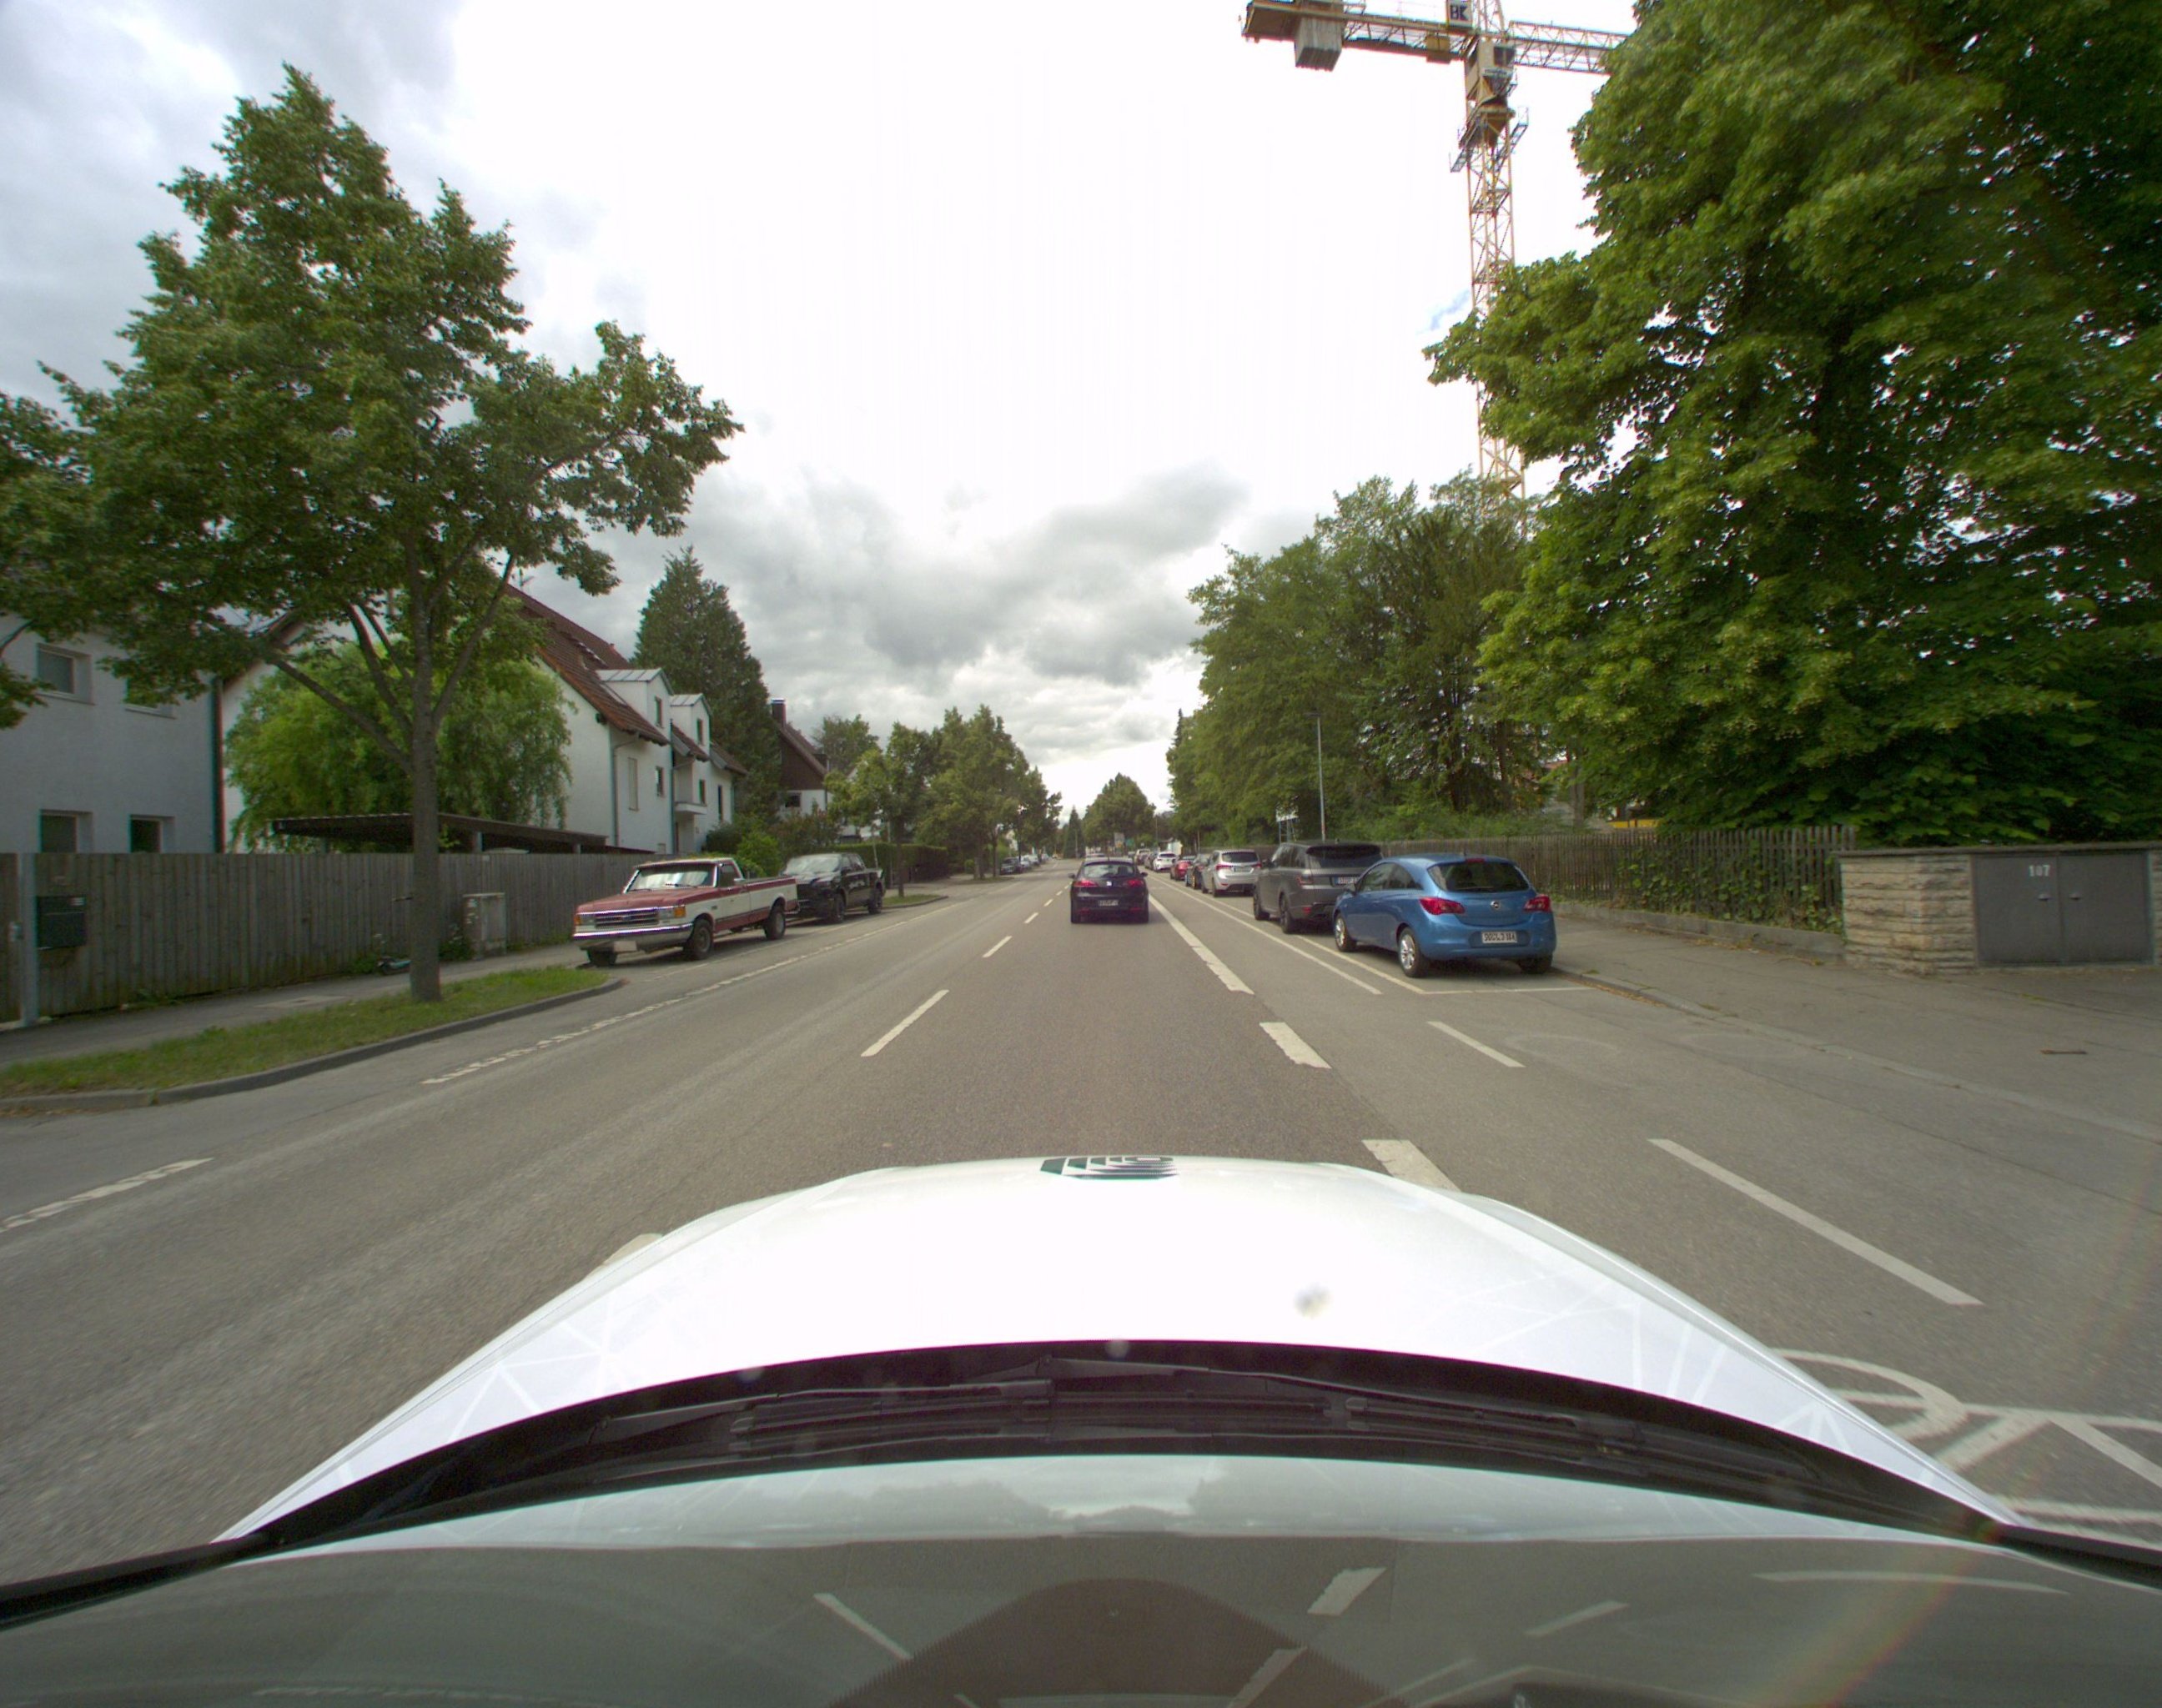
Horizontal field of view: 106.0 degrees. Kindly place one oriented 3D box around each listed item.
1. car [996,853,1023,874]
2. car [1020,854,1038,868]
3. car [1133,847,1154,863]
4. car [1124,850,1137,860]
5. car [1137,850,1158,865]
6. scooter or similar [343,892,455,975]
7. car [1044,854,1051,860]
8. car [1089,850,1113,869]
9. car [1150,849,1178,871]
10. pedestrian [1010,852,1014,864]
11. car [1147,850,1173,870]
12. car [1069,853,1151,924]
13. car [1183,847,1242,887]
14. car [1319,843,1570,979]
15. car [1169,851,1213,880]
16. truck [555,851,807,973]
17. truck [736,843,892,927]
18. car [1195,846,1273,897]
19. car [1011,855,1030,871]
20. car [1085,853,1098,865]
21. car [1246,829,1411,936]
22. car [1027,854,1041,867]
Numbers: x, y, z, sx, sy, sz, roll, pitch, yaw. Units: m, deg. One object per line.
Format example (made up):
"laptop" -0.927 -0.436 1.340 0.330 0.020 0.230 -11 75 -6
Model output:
"car" -6.386 0.829 72.987 2.090 1.647 5.034 -4 0 -2
"car" -6.149 0.799 97.111 1.989 1.485 4.884 -3 0 -3
"car" 6.903 0.130 90.170 1.894 1.642 4.116 -3 0 0
"car" 7.697 0.132 126.951 1.607 1.377 4.385 -3 -1 0
"car" 6.793 0.338 83.545 1.856 1.417 4.605 -2 0 2
"scooter or similar" -10.789 1.228 12.941 0.633 1.212 1.305 0 -1 1
"car" -9.316 0.860 228.368 1.793 1.601 3.997 -3 0 -2
"car" 1.771 0.467 73.345 1.987 1.613 4.000 -2 0 0
"car" 6.003 0.448 59.234 1.761 1.510 4.032 -2 0 2
"pedestrian" -10.867 0.659 128.234 0.502 1.806 0.671 -3 0 -1
"car" 6.263 0.433 65.086 1.696 1.510 4.539 -1 1 1
"car" 0.688 0.728 19.215 1.725 1.486 4.002 -1 0 2
"car" 5.475 0.525 34.458 1.809 1.515 4.680 -1 0 1
"car" 4.705 0.659 11.208 1.679 1.501 3.921 -1 0 0
"car" 5.852 0.556 43.610 1.852 1.413 4.444 0 1 1
"truck" -7.565 0.957 16.287 1.959 1.868 5.667 -4 0 2
"truck" -7.527 0.782 23.832 2.414 2.043 5.996 -2 0 1
"car" 5.308 0.567 28.796 1.856 1.589 4.420 -2 0 0
"car" -6.458 0.948 87.486 1.713 1.613 3.908 -3 0 -1
"car" 1.798 0.856 139.618 1.987 2.013 4.000 -2 0 0
"car" 4.749 0.507 16.434 1.986 1.816 4.829 -1 0 2
"car" -6.079 0.807 105.481 1.673 1.552 4.269 -3 0 -2
